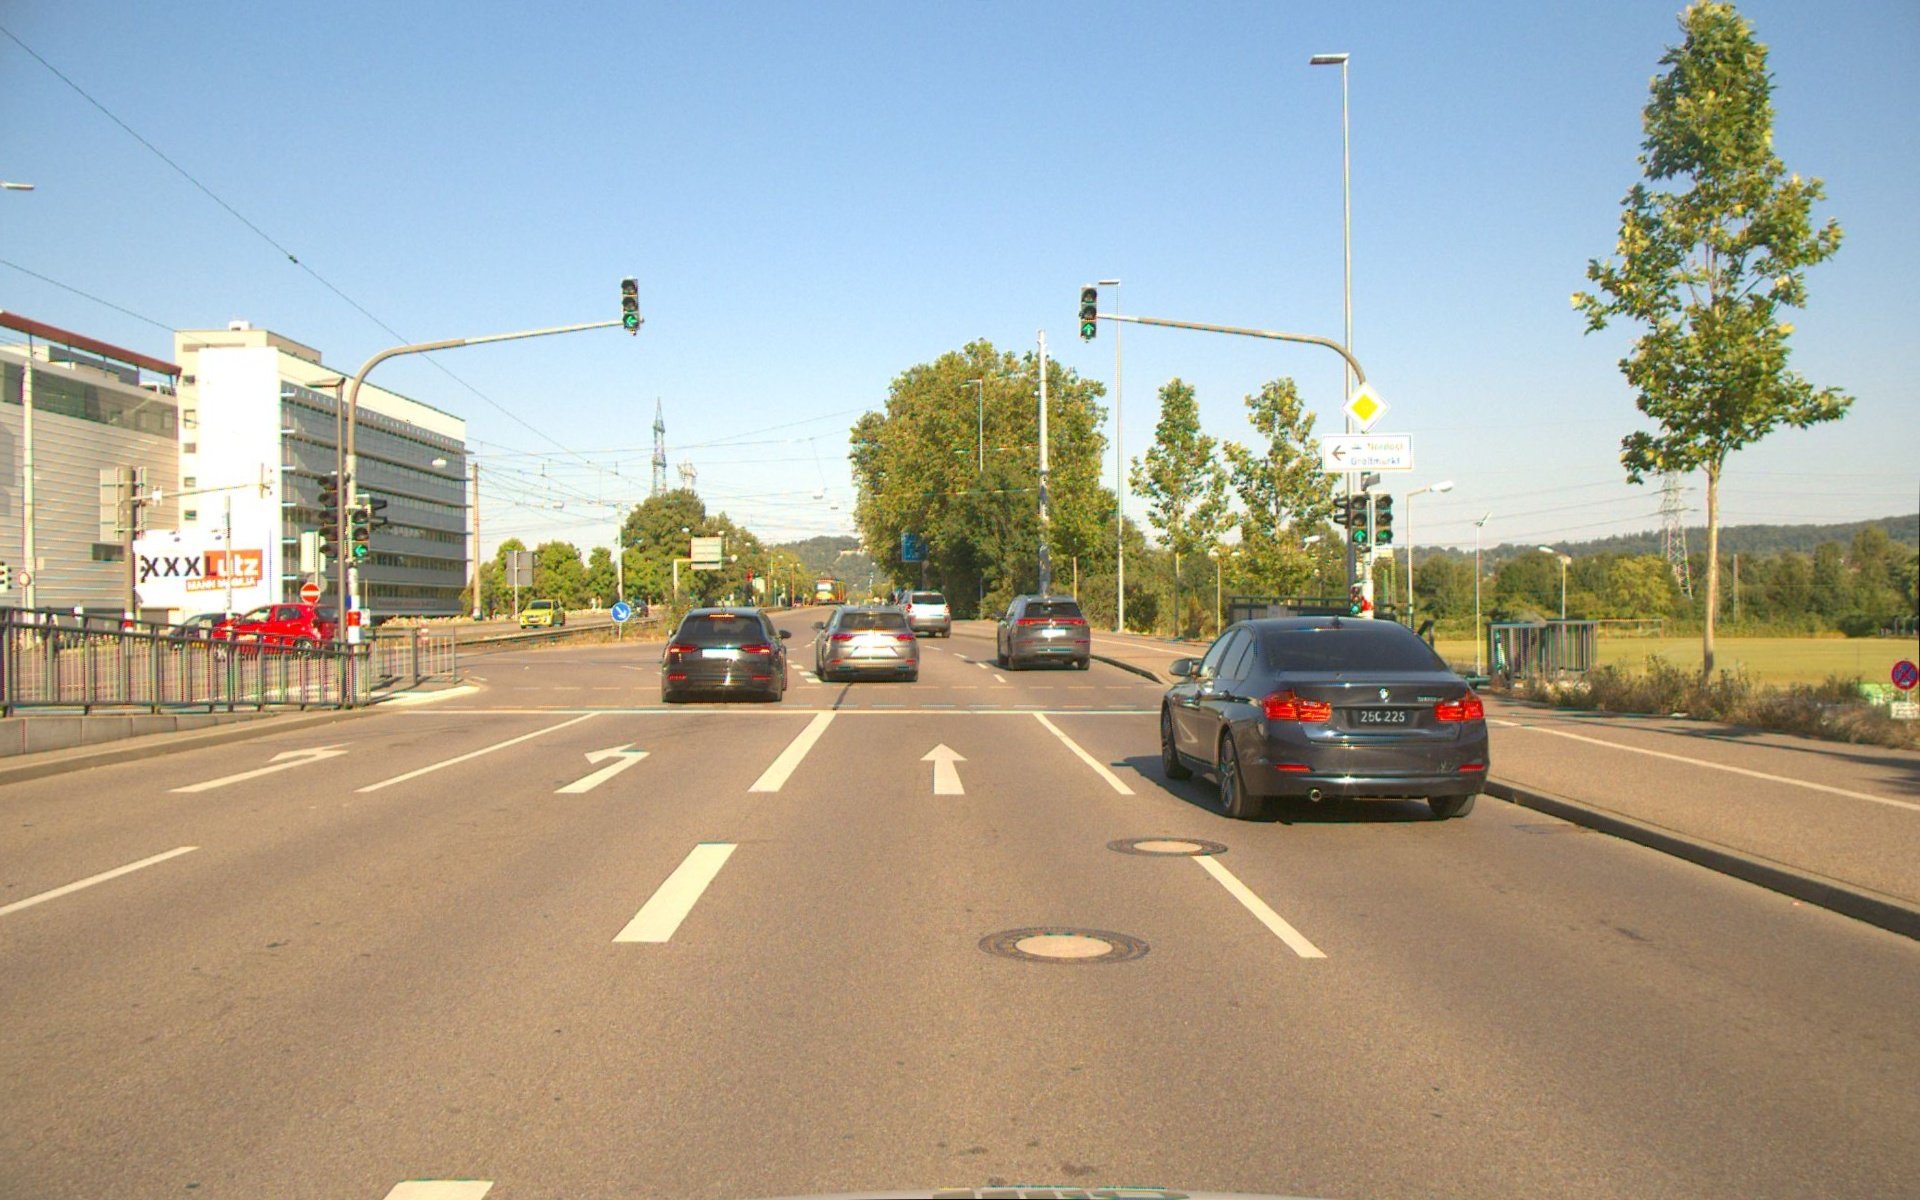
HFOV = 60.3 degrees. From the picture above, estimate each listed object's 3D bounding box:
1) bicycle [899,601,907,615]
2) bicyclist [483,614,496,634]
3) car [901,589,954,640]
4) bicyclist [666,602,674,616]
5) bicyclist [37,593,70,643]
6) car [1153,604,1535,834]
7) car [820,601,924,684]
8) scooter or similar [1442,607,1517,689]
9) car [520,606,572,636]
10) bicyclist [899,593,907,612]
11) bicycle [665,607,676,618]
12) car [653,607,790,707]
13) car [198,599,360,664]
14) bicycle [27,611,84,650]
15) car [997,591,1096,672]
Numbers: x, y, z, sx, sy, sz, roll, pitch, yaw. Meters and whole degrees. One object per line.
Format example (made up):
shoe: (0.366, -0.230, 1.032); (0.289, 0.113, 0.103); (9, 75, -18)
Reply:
bicycle: (-4.744, 0.677, 137.393); (0.609, 1.140, 1.812); (-2, 0, -2)
bicyclist: (-36.863, 1.887, 129.548); (0.690, 1.539, 0.971); (1, 0, 4)
car: (-1.251, 0.532, 62.559); (1.846, 1.827, 3.998); (1, 0, -3)
bicyclist: (-33.664, 1.046, 192.090); (0.647, 1.652, 0.802); (1, 0, 7)
bicyclist: (-28.608, 0.568, 52.214); (0.575, 1.549, 0.751); (1, 0, 4)
car: (2.773, 0.804, 13.068); (1.828, 1.493, 4.584); (0, -1, -2)
car: (-1.819, 0.785, 32.872); (1.830, 1.493, 4.660); (1, 0, -6)
scooter or similar: (8.194, 0.743, 26.129); (0.515, 1.252, 1.261); (-1, 0, -15)
car: (-21.873, 1.082, 87.514); (1.747, 1.473, 4.107); (-2, 0, -1)
bicyclist: (-4.765, 0.189, 137.745); (0.672, 1.535, 0.890); (0, 0, -2)
bicycle: (-33.660, 1.437, 192.198); (0.647, 1.171, 2.023); (1, 0, 7)
car: (-3.761, 0.852, 26.689); (1.877, 1.483, 4.088); (0, 0, -4)
car: (-18.134, 0.820, 44.100); (3.498, 1.485, 1.772); (-4, -1, 7)
bicycle: (-28.605, 0.950, 52.351); (0.575, 1.188, 1.993); (1, 0, 4)
car: (1.910, 0.663, 37.610); (1.807, 1.690, 4.437); (1, 0, -3)
